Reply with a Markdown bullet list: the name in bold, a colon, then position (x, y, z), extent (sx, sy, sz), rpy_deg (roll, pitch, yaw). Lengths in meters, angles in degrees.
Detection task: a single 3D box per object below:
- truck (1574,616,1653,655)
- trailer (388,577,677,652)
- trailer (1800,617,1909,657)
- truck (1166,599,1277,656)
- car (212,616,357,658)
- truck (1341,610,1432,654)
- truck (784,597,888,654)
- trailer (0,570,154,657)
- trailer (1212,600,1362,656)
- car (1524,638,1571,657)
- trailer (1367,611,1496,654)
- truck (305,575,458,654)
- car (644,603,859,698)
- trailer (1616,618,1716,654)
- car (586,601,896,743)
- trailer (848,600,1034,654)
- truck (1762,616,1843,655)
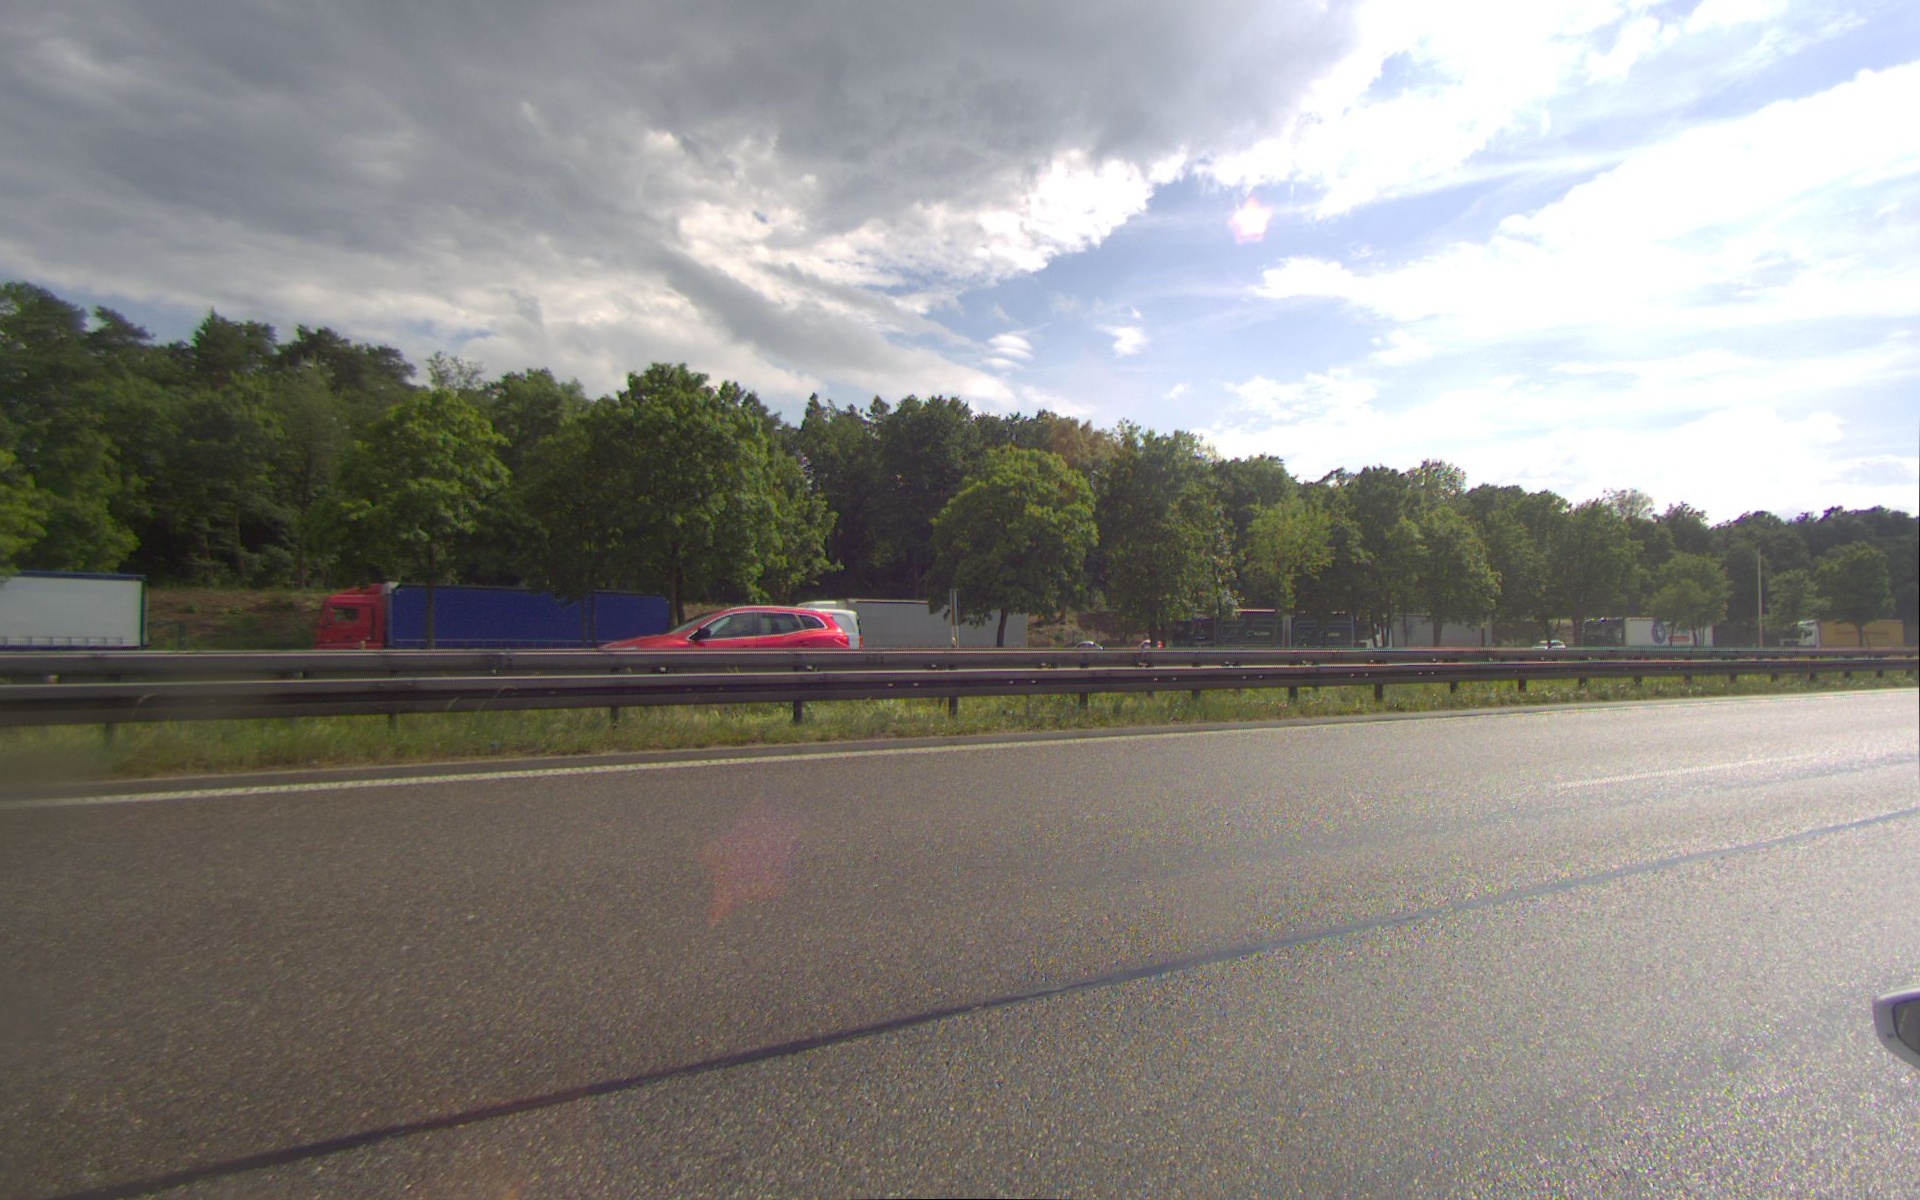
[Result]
- **truck**: position (67.134, 3.638, 103.151), extent (6.613, 3.709, 3.777), rpy_deg (2, 0, -24)
- **trailer**: position (-21.404, 0.854, 51.265), extent (13.303, 3.450, 2.802), rpy_deg (2, -1, -37)
- **trailer**: position (103.266, 4.278, 116.015), extent (11.534, 4.171, 3.787), rpy_deg (2, 0, -16)
- **truck**: position (20.989, 2.221, 80.561), extent (8.316, 4.290, 3.771), rpy_deg (2, 0, -29)
- **car**: position (-34.830, 1.905, 51.891), extent (6.080, 2.040, 1.978), rpy_deg (2, 0, -39)
- **truck**: position (37.983, 2.829, 89.489), extent (7.266, 3.637, 3.771), rpy_deg (2, 0, -29)
- **truck**: position (-7.642, 1.562, 61.875), extent (5.450, 3.316, 3.332), rpy_deg (2, 0, -34)
- **trailer**: position (-36.440, 0.517, 39.209), extent (7.678, 3.275, 2.558), rpy_deg (2, -1, -40)
- **trailer**: position (27.589, 2.380, 84.330), extent (13.632, 4.464, 3.773), rpy_deg (1, -1, -29)
- **car**: position (58.021, 4.667, 99.185), extent (4.312, 1.741, 2.051), rpy_deg (2, 0, -27)
- **trailer**: position (43.592, 3.007, 92.611), extent (13.182, 3.697, 3.773), rpy_deg (1, -1, -29)
- **truck**: position (-27.020, 0.698, 47.014), extent (5.843, 3.502, 2.839), rpy_deg (2, 0, -37)
- **car**: position (-4.981, 1.199, 24.243), extent (4.723, 2.072, 1.821), rpy_deg (2, 0, -30)
- **trailer**: position (74.825, 3.853, 106.503), extent (10.346, 3.697, 3.781), rpy_deg (1, -1, -23)
- **car**: position (-3.610, 1.141, 16.841), extent (4.723, 2.072, 1.821), rpy_deg (2, 0, -30)
- **trailer**: position (-1.095, 1.799, 66.060), extent (12.336, 3.259, 3.329), rpy_deg (2, -1, -32)
- **truck**: position (95.305, 4.007, 113.699), extent (6.930, 4.171, 3.787), rpy_deg (2, 0, -16)
